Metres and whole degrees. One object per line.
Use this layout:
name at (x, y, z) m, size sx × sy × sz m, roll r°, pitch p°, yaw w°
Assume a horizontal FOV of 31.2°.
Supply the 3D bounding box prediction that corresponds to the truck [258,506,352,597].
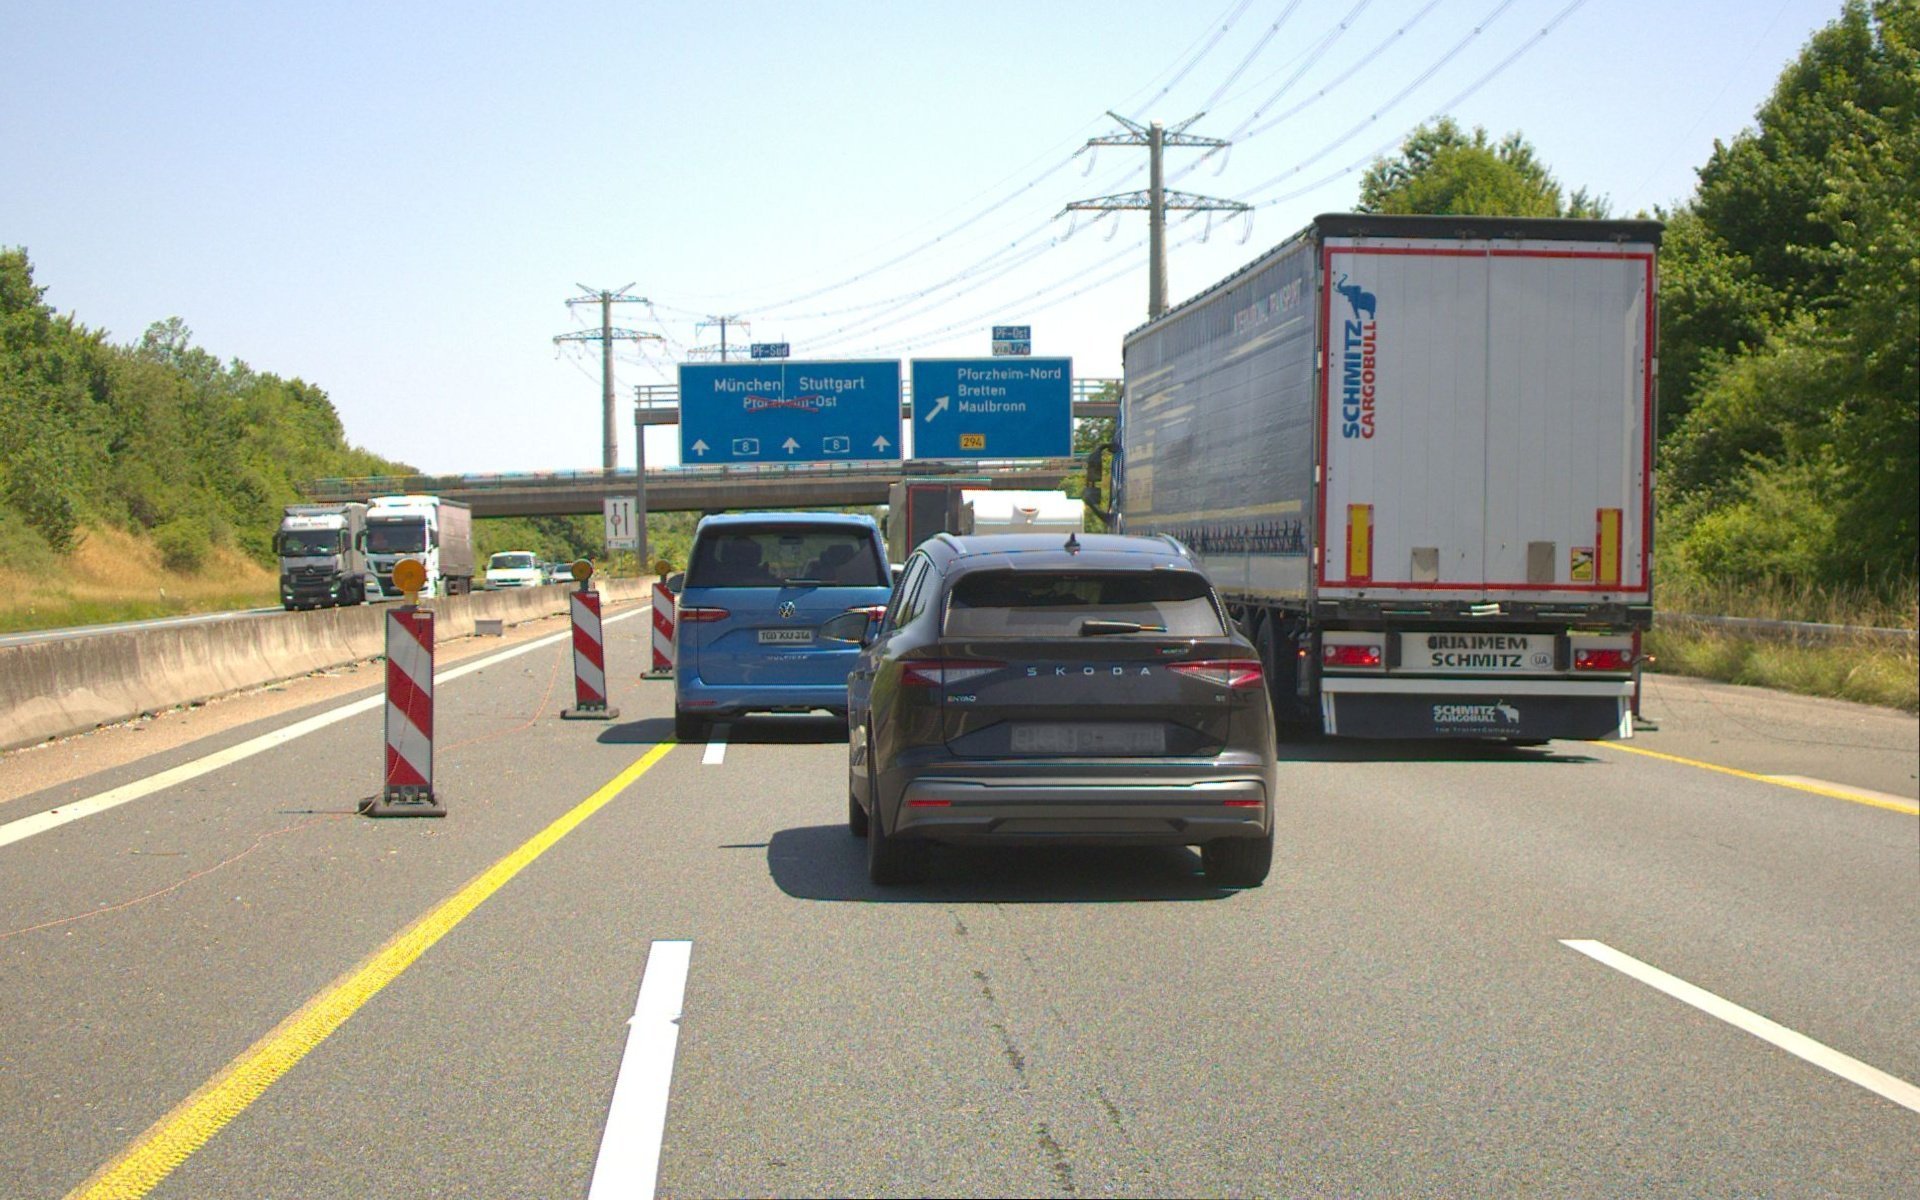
truck at (-24.577, -1.841, 129.310) m, size 2.464 × 3.277 × 6.925 m, roll -1°, pitch 1°, yaw -3°

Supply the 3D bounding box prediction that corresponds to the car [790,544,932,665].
car at (-1.499, 0.026, 50.340) m, size 1.895 × 1.504 × 4.443 m, roll 2°, pitch 2°, yaw -3°

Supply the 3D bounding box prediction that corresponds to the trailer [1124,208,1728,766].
trailer at (3.660, -0.906, 30.663) m, size 3.065 × 4.029 × 11.489 m, roll 0°, pitch 1°, yaw -4°

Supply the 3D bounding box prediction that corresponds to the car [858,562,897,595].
car at (-4.451, -1.170, 185.263) m, size 1.895 × 1.504 × 4.443 m, roll 2°, pitch 2°, yaw -3°

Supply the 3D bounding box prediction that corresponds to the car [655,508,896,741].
car at (-1.533, 0.171, 29.757) m, size 1.895 × 1.835 × 4.443 m, roll 1°, pitch 1°, yaw -1°

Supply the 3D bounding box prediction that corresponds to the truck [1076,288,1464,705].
truck at (3.176, -1.067, 37.618) m, size 3.024 × 4.073 × 7.796 m, roll 0°, pitch 1°, yaw -4°

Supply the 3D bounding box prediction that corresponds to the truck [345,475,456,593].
truck at (-20.885, -2.458, 128.692) m, size 3.163 × 4.210 × 7.416 m, roll -1°, pitch 1°, yaw -3°

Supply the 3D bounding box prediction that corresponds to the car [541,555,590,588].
car at (-17.924, -1.303, 156.235) m, size 1.762 × 1.466 × 4.634 m, roll -1°, pitch 1°, yaw -1°

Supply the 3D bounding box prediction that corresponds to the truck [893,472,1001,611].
truck at (-0.512, -1.829, 109.633) m, size 3.077 × 4.132 × 13.055 m, roll 1°, pitch 1°, yaw -1°

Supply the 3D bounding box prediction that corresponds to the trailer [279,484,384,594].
trailer at (-24.969, -2.409, 137.080) m, size 2.480 × 4.166 × 12.087 m, roll -1°, pitch 1°, yaw -3°

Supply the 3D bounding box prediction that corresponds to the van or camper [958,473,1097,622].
van or camper at (1.371, -1.122, 72.947) m, size 2.586 × 2.958 × 6.085 m, roll 2°, pitch 1°, yaw -1°

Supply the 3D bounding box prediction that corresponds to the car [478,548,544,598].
car at (-16.596, -1.008, 127.246) m, size 1.866 × 1.786 × 5.455 m, roll -1°, pitch 1°, yaw -2°

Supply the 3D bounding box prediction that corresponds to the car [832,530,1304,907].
car at (0.379, 0.462, 16.831) m, size 1.895 × 1.586 × 4.443 m, roll 1°, pitch 1°, yaw -3°
